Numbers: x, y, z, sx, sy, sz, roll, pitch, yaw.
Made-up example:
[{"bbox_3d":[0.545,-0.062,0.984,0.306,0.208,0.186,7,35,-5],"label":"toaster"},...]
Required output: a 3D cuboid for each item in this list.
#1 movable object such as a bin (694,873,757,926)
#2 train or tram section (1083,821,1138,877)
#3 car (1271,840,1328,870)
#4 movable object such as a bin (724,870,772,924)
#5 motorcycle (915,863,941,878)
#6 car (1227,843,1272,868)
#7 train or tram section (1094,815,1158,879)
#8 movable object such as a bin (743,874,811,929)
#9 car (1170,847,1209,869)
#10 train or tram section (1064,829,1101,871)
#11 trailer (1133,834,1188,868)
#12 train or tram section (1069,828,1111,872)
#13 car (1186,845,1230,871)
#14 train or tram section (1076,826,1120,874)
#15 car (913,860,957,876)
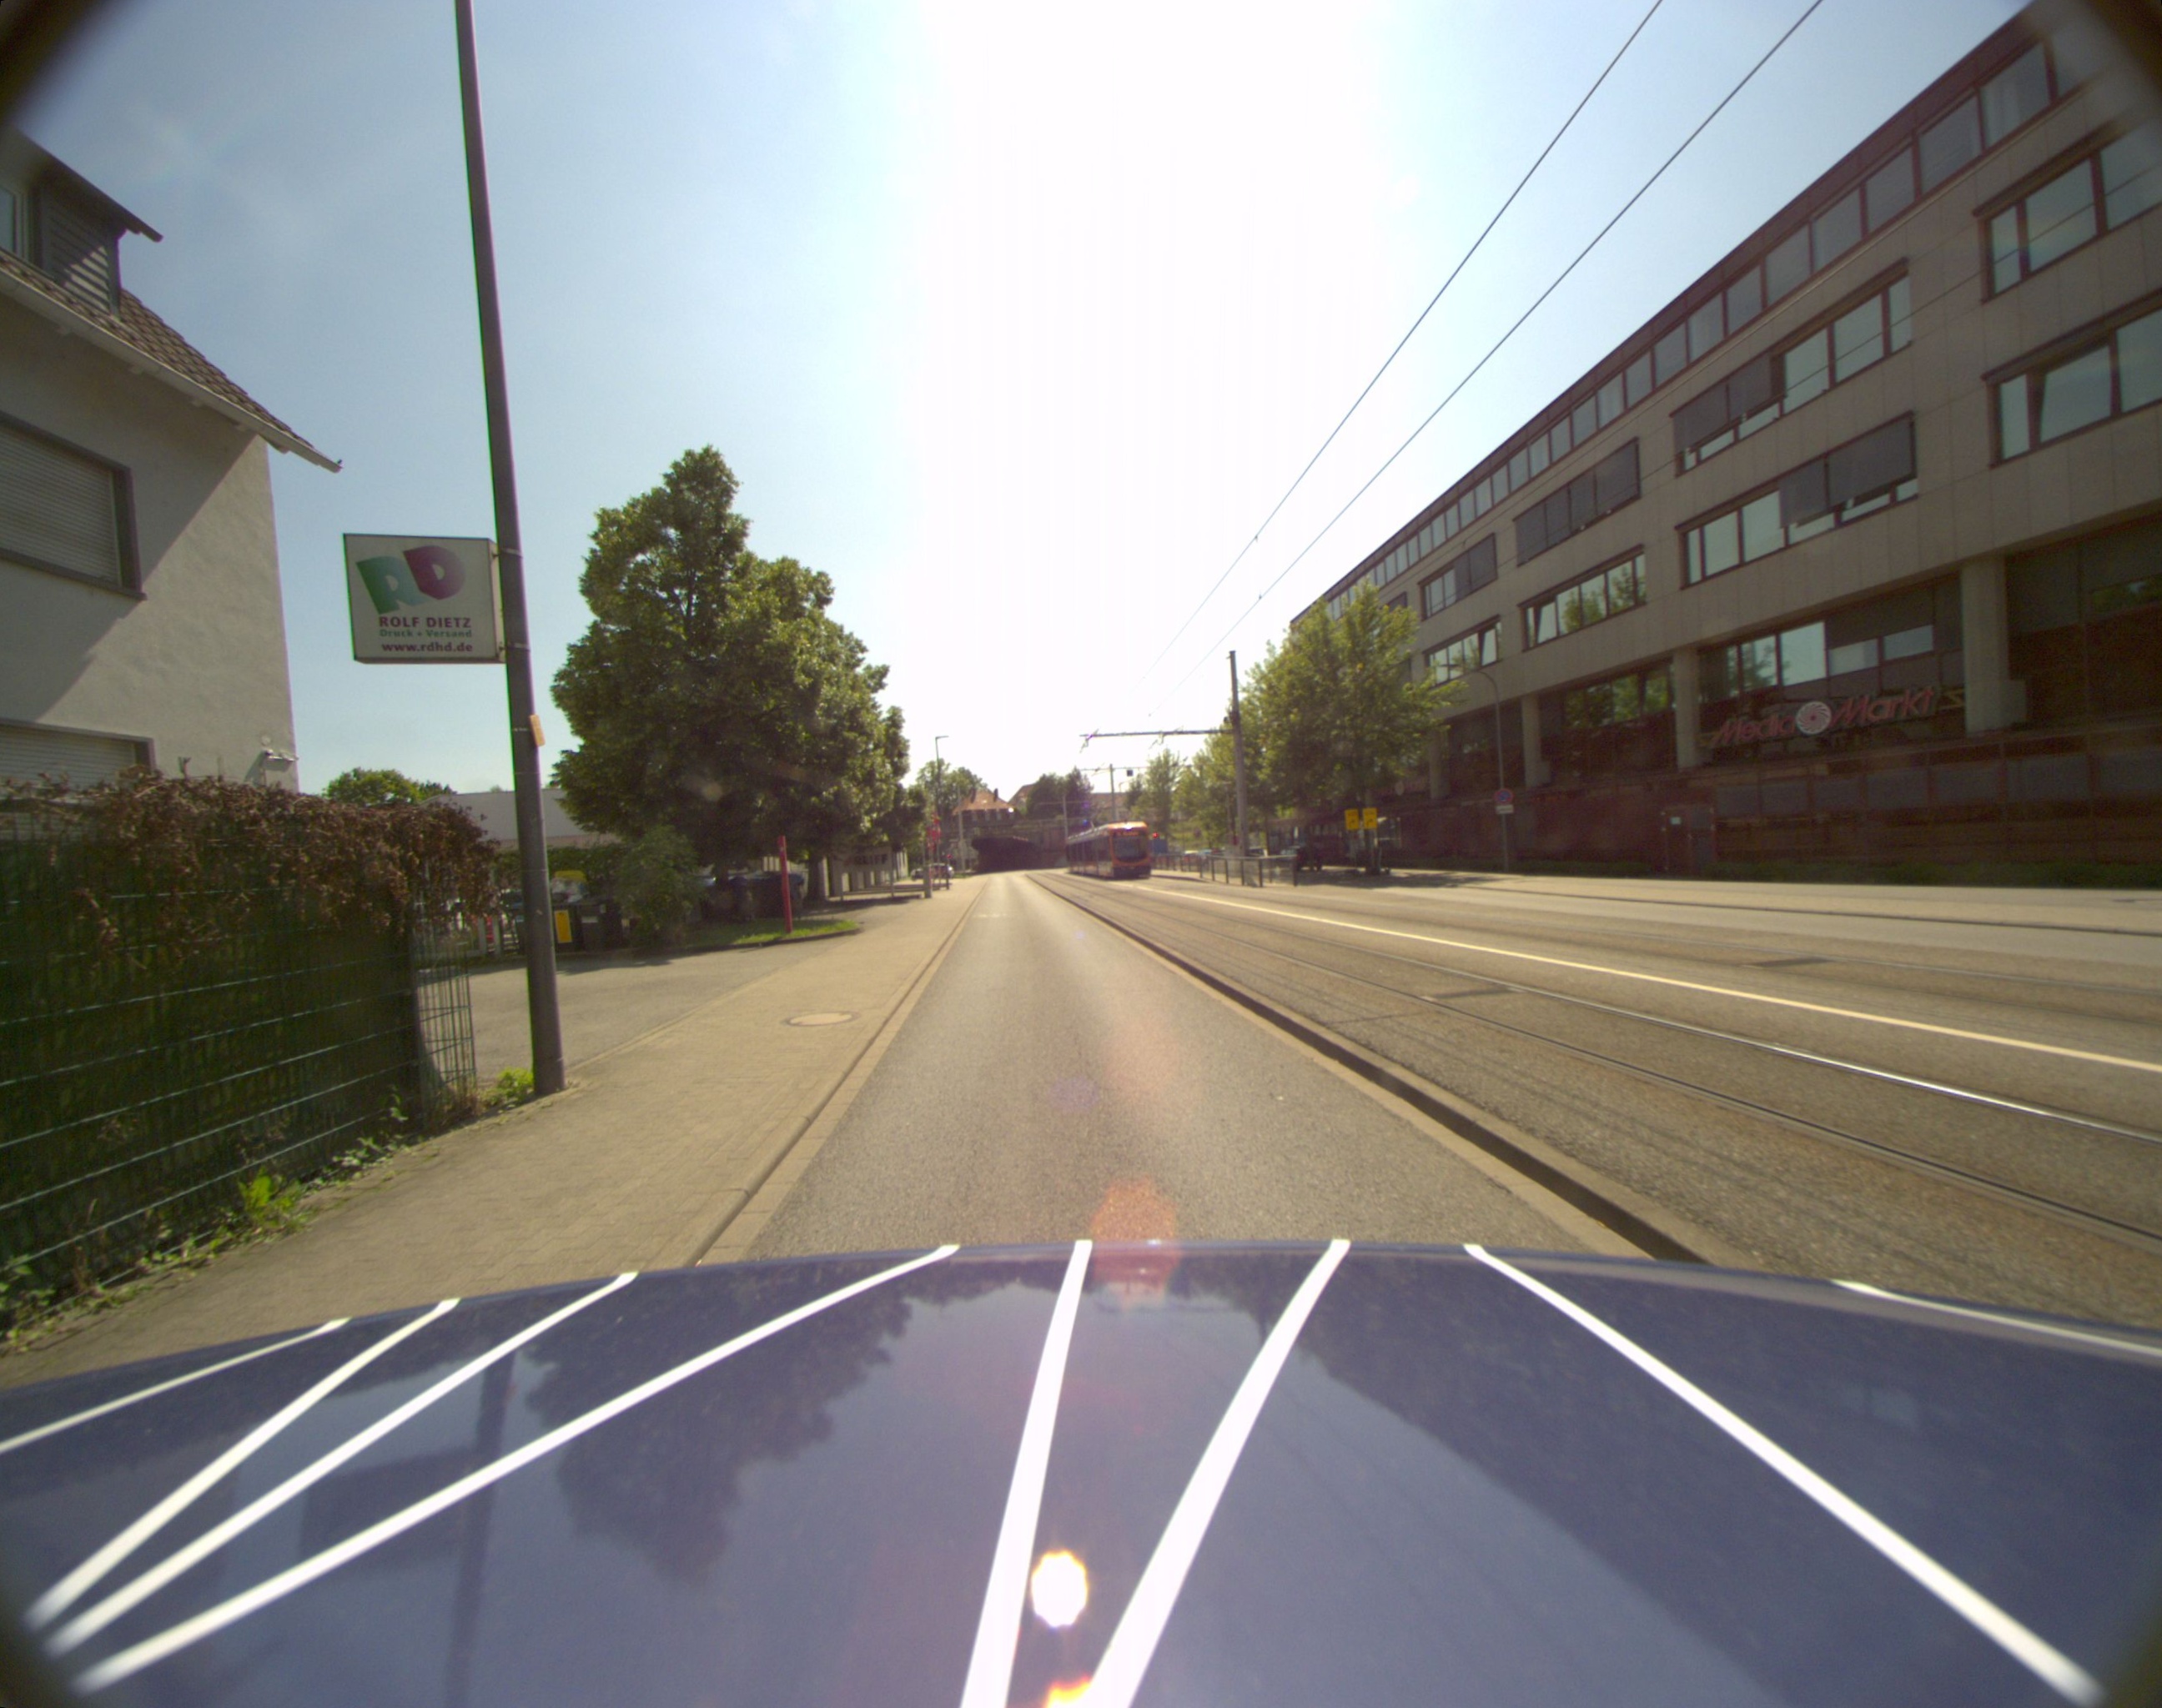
[{"bbox_3d":[-10.408,1.326,22.262,1.318,1.422,0.885,-3,3,19],"label":"movable object such as a bin"},{"bbox_3d":[1.884,-0.330,52.332,2.588,3.427,7.132,-3,0,-6],"label":"train or tram section"},{"bbox_3d":[12.412,0.068,43.434,1.765,1.510,3.998,-4,0,-5],"label":"car"},{"bbox_3d":[-10.593,1.357,24.199,0.981,1.538,1.319,-4,2,-9],"label":"movable object such as a bin"},{"bbox_3d":[-13.513,1.480,67.052,2.190,1.301,0.730,-1,1,-7],"label":"motorcycle"},{"bbox_3d":[11.105,0.102,50.377,1.727,1.455,3.902,-5,0,-5],"label":"car"},{"bbox_3d":[2.579,-0.402,45.595,2.588,3.427,6.359,-3,0,-6],"label":"train or tram section"},{"bbox_3d":[-8.736,1.358,21.885,1.386,1.422,0.991,-3,3,19],"label":"movable object such as a bin"},{"bbox_3d":[7.840,0.299,55.171,1.728,1.464,4.277,-2,0,-7],"label":"car"},{"bbox_3d":[0.064,-0.340,69.320,2.619,3.512,5.739,-3,0,-6],"label":"train or tram section"},{"bbox_3d":[6.694,-0.224,65.166,2.805,2.613,7.596,-3,0,-7],"label":"trailer"},{"bbox_3d":[0.695,-0.323,63.545,2.619,3.427,5.840,-3,0,-6],"label":"train or tram section"},{"bbox_3d":[8.211,0.249,49.307,1.728,1.575,4.069,-1,0,-7],"label":"car"},{"bbox_3d":[1.241,-0.309,58.385,2.619,3.427,5.007,-3,0,-6],"label":"train or tram section"},{"bbox_3d":[-13.907,1.355,72.647,4.000,1.454,1.888,0,0,-7],"label":"car"}]
